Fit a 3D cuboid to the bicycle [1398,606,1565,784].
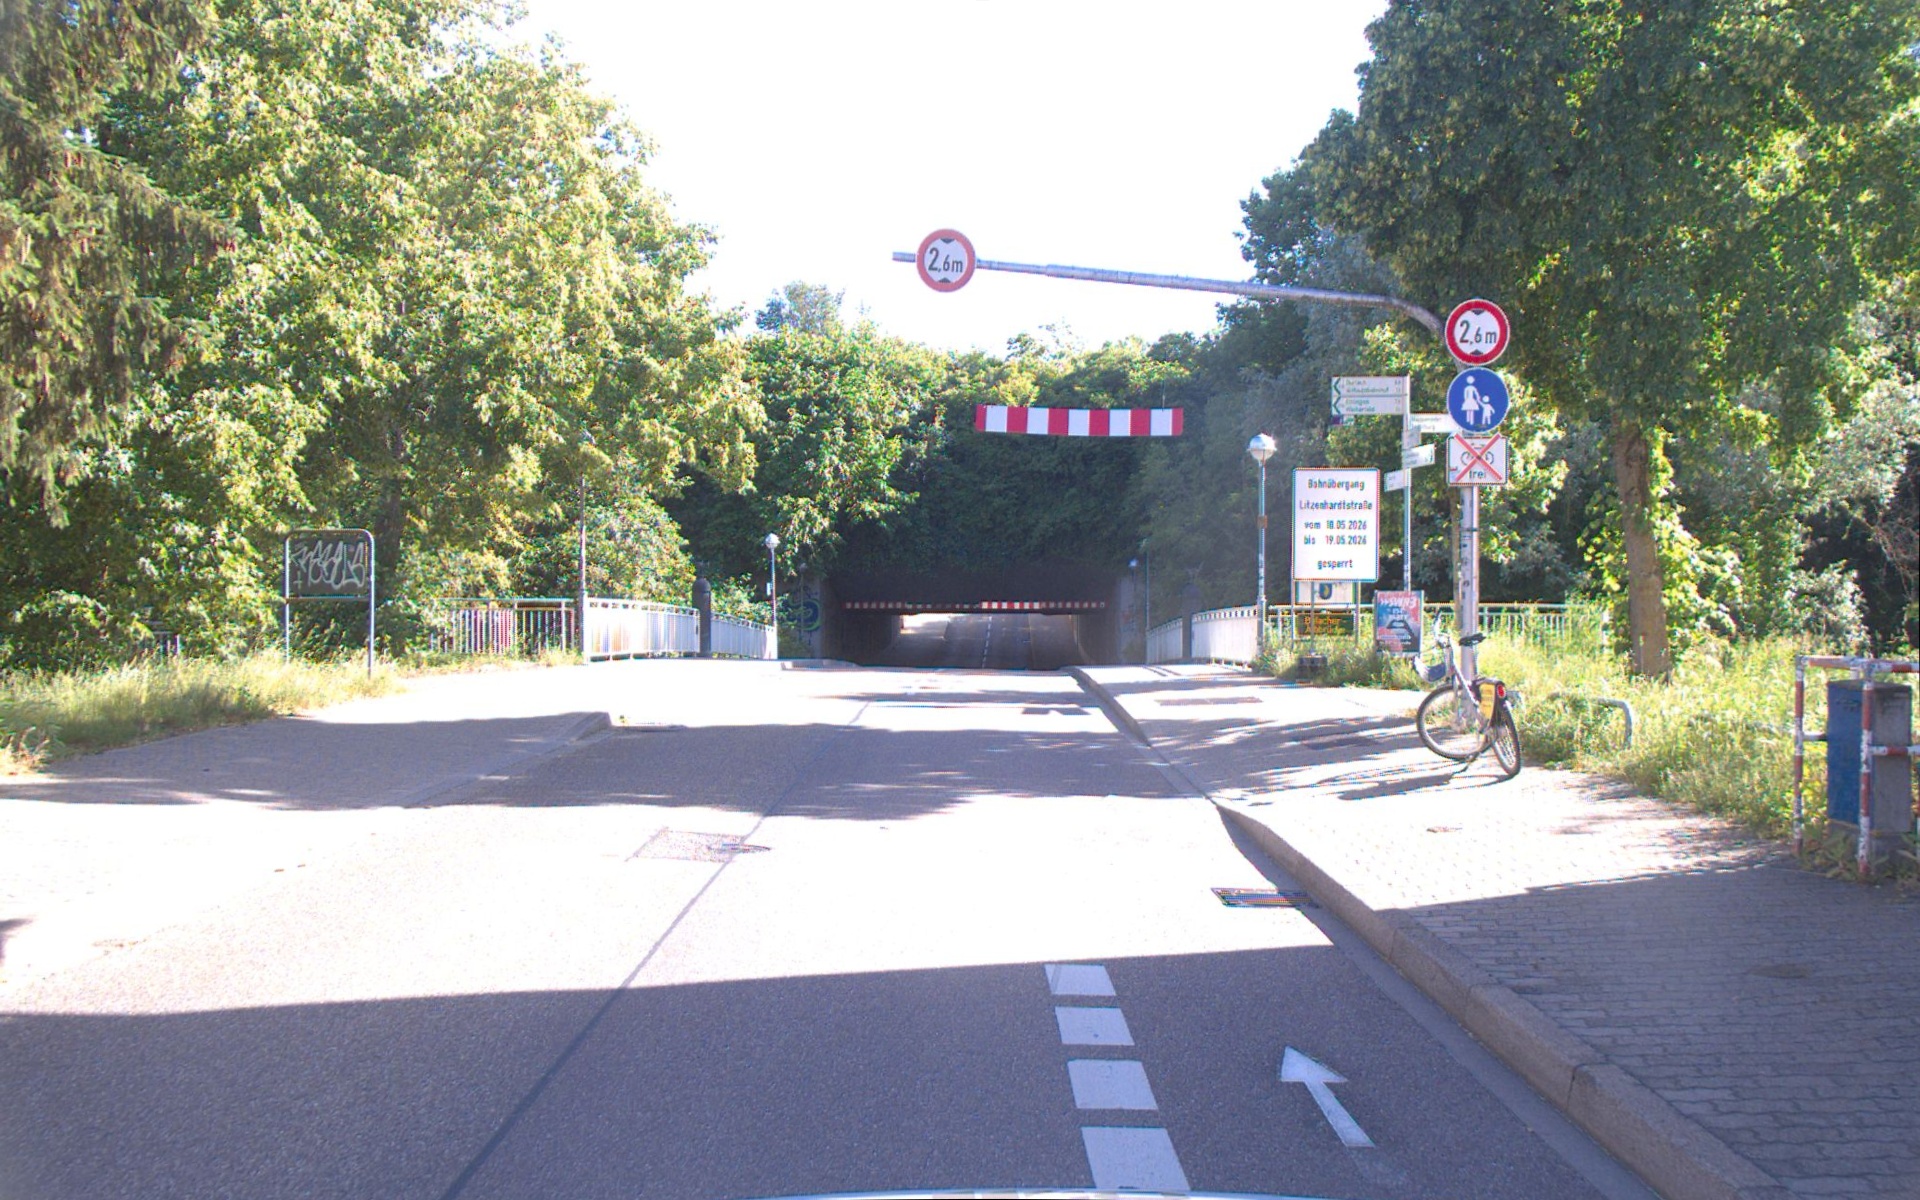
[{"bbox_3d":[3.868,0.670,12.397,0.675,1.177,1.539,-5,1,0],"label":"bicycle"}]
